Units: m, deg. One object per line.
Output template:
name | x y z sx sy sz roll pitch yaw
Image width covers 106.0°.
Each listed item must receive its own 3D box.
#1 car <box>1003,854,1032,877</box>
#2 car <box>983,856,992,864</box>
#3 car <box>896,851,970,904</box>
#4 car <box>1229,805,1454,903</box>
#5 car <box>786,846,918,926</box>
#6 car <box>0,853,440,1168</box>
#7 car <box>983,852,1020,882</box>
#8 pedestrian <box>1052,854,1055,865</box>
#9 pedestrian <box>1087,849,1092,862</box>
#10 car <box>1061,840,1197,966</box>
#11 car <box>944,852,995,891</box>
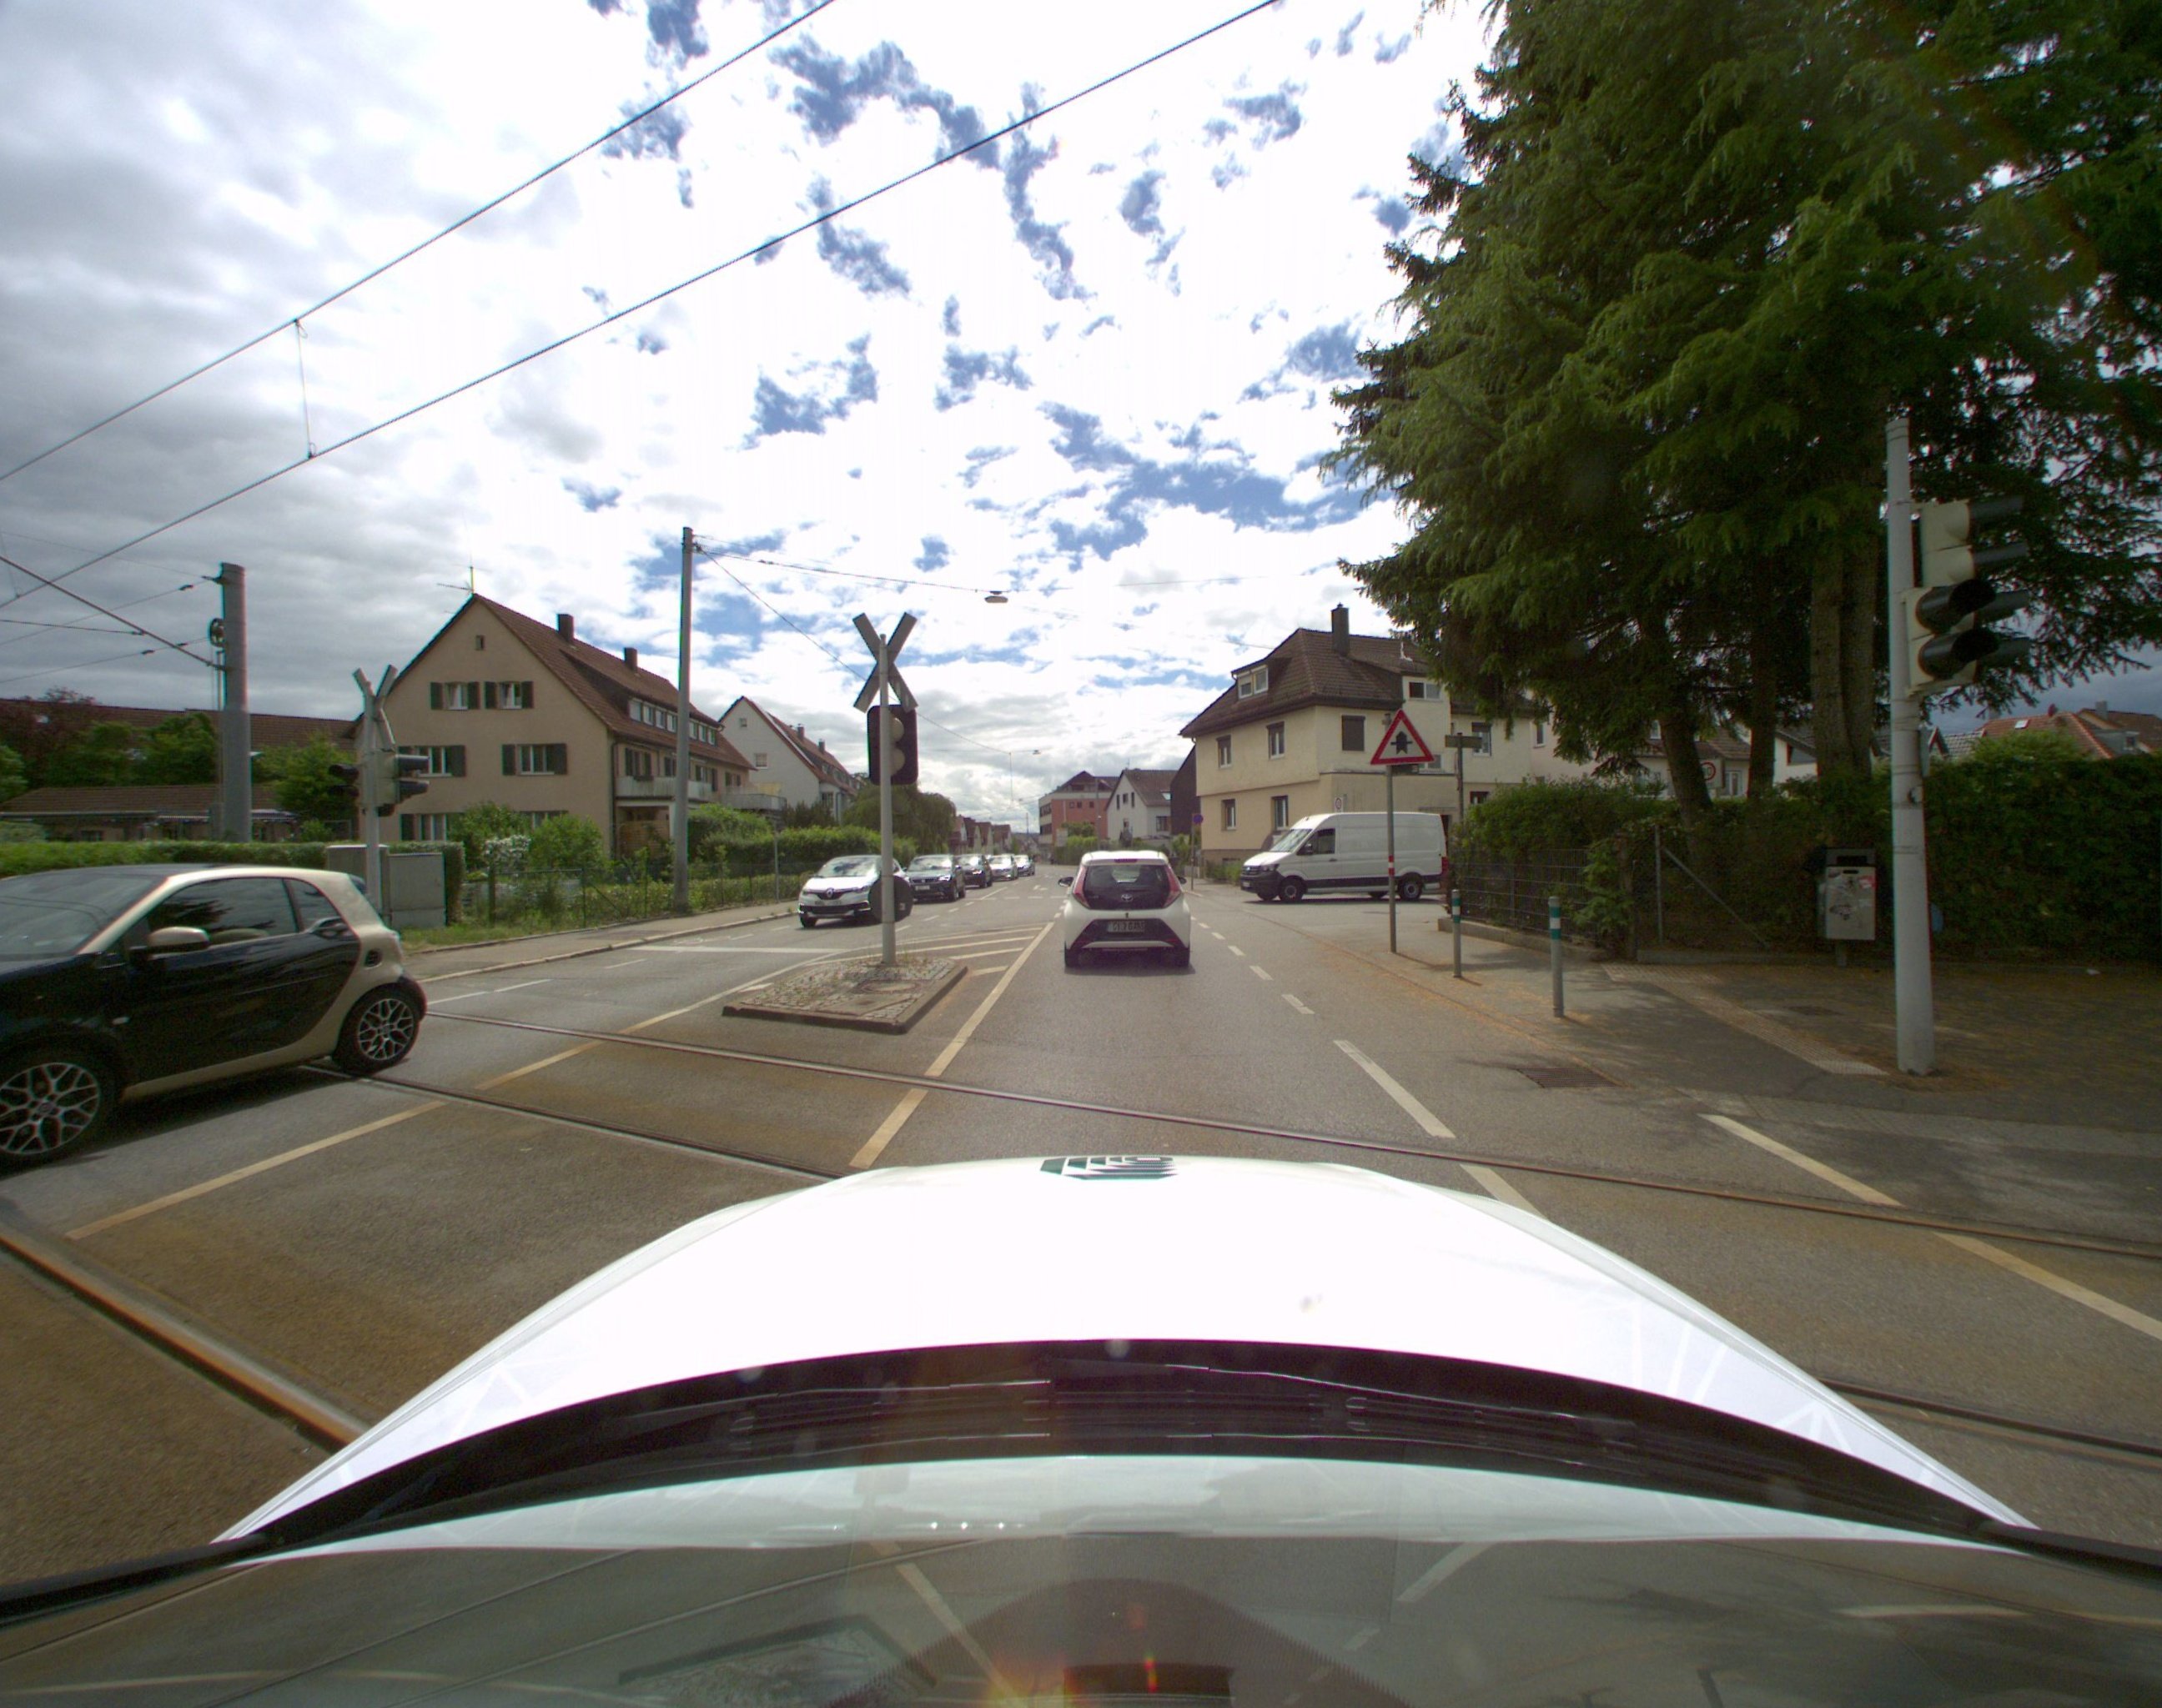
car | -4.457 0.807 57.811 1.771 1.430 4.517 -4 0 -3
car | -20.203 1.380 175.978 1.991 1.684 3.990 0 0 -7
car | -4.993 0.745 28.059 1.770 1.603 4.037 -3 0 -1
car | 7.522 -0.034 23.693 5.997 2.581 1.993 -1 1 -11
car | -5.219 0.698 19.143 1.768 1.603 4.040 -3 -1 2
car | -5.939 0.760 5.089 1.568 1.510 2.790 0 0 3
car | -4.791 0.752 49.402 1.770 1.561 4.168 -4 0 -1
pedestrian | -3.729 0.749 110.560 0.413 1.437 0.436 -1 0 -8
pedestrian | 0.862 0.144 85.721 0.414 1.437 0.435 -1 0 -15
car | 0.595 0.575 11.912 1.616 1.486 4.000 -2 1 0
car | -5.215 0.774 38.462 1.770 1.603 4.167 -4 0 -1
